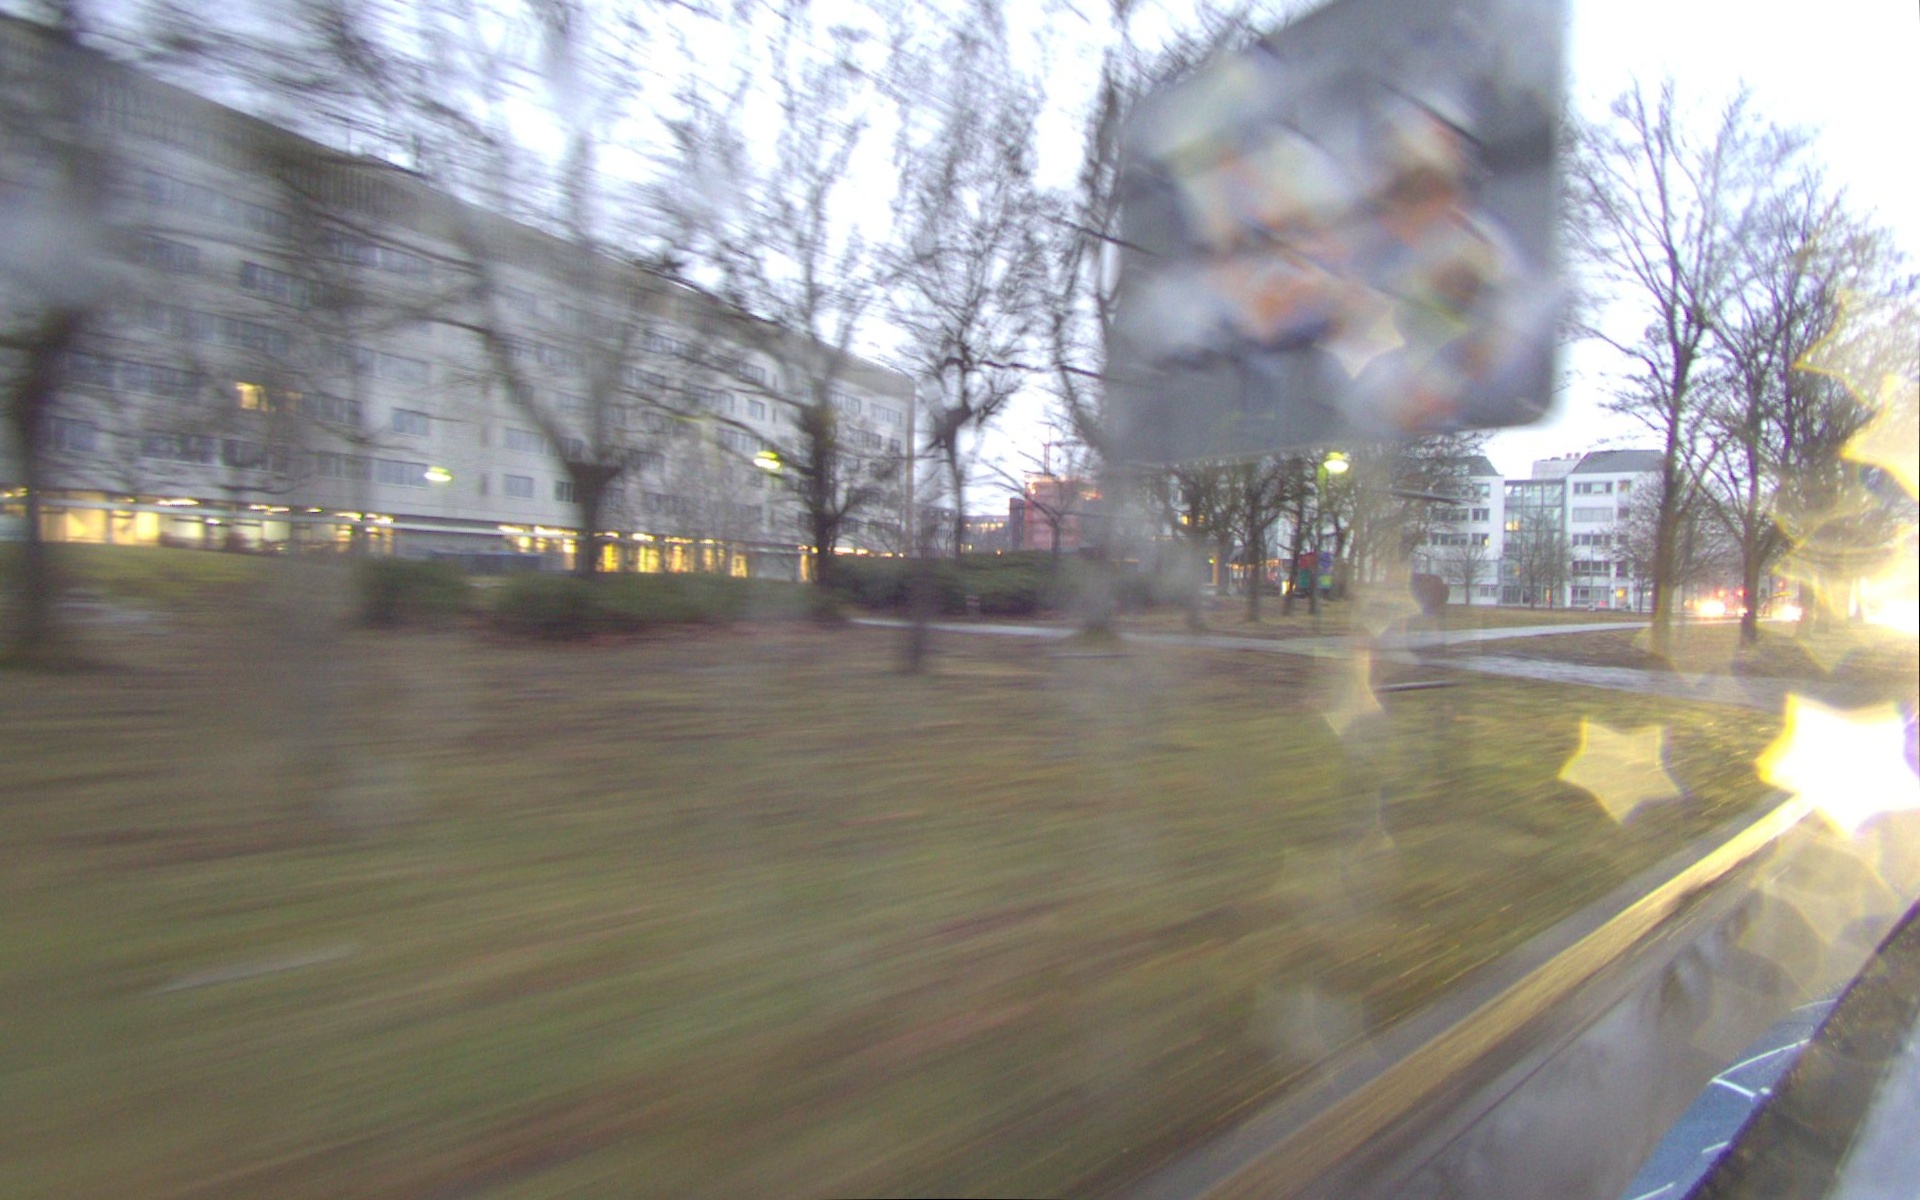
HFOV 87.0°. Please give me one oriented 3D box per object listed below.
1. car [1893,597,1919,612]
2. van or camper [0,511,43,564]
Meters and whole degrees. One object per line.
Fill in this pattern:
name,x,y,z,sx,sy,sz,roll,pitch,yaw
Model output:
car,91.370,0.418,96.949,1.982,1.340,3.961,2,1,28
van or camper,-45.670,-2.932,47.534,4.423,2.375,2.120,1,1,21
